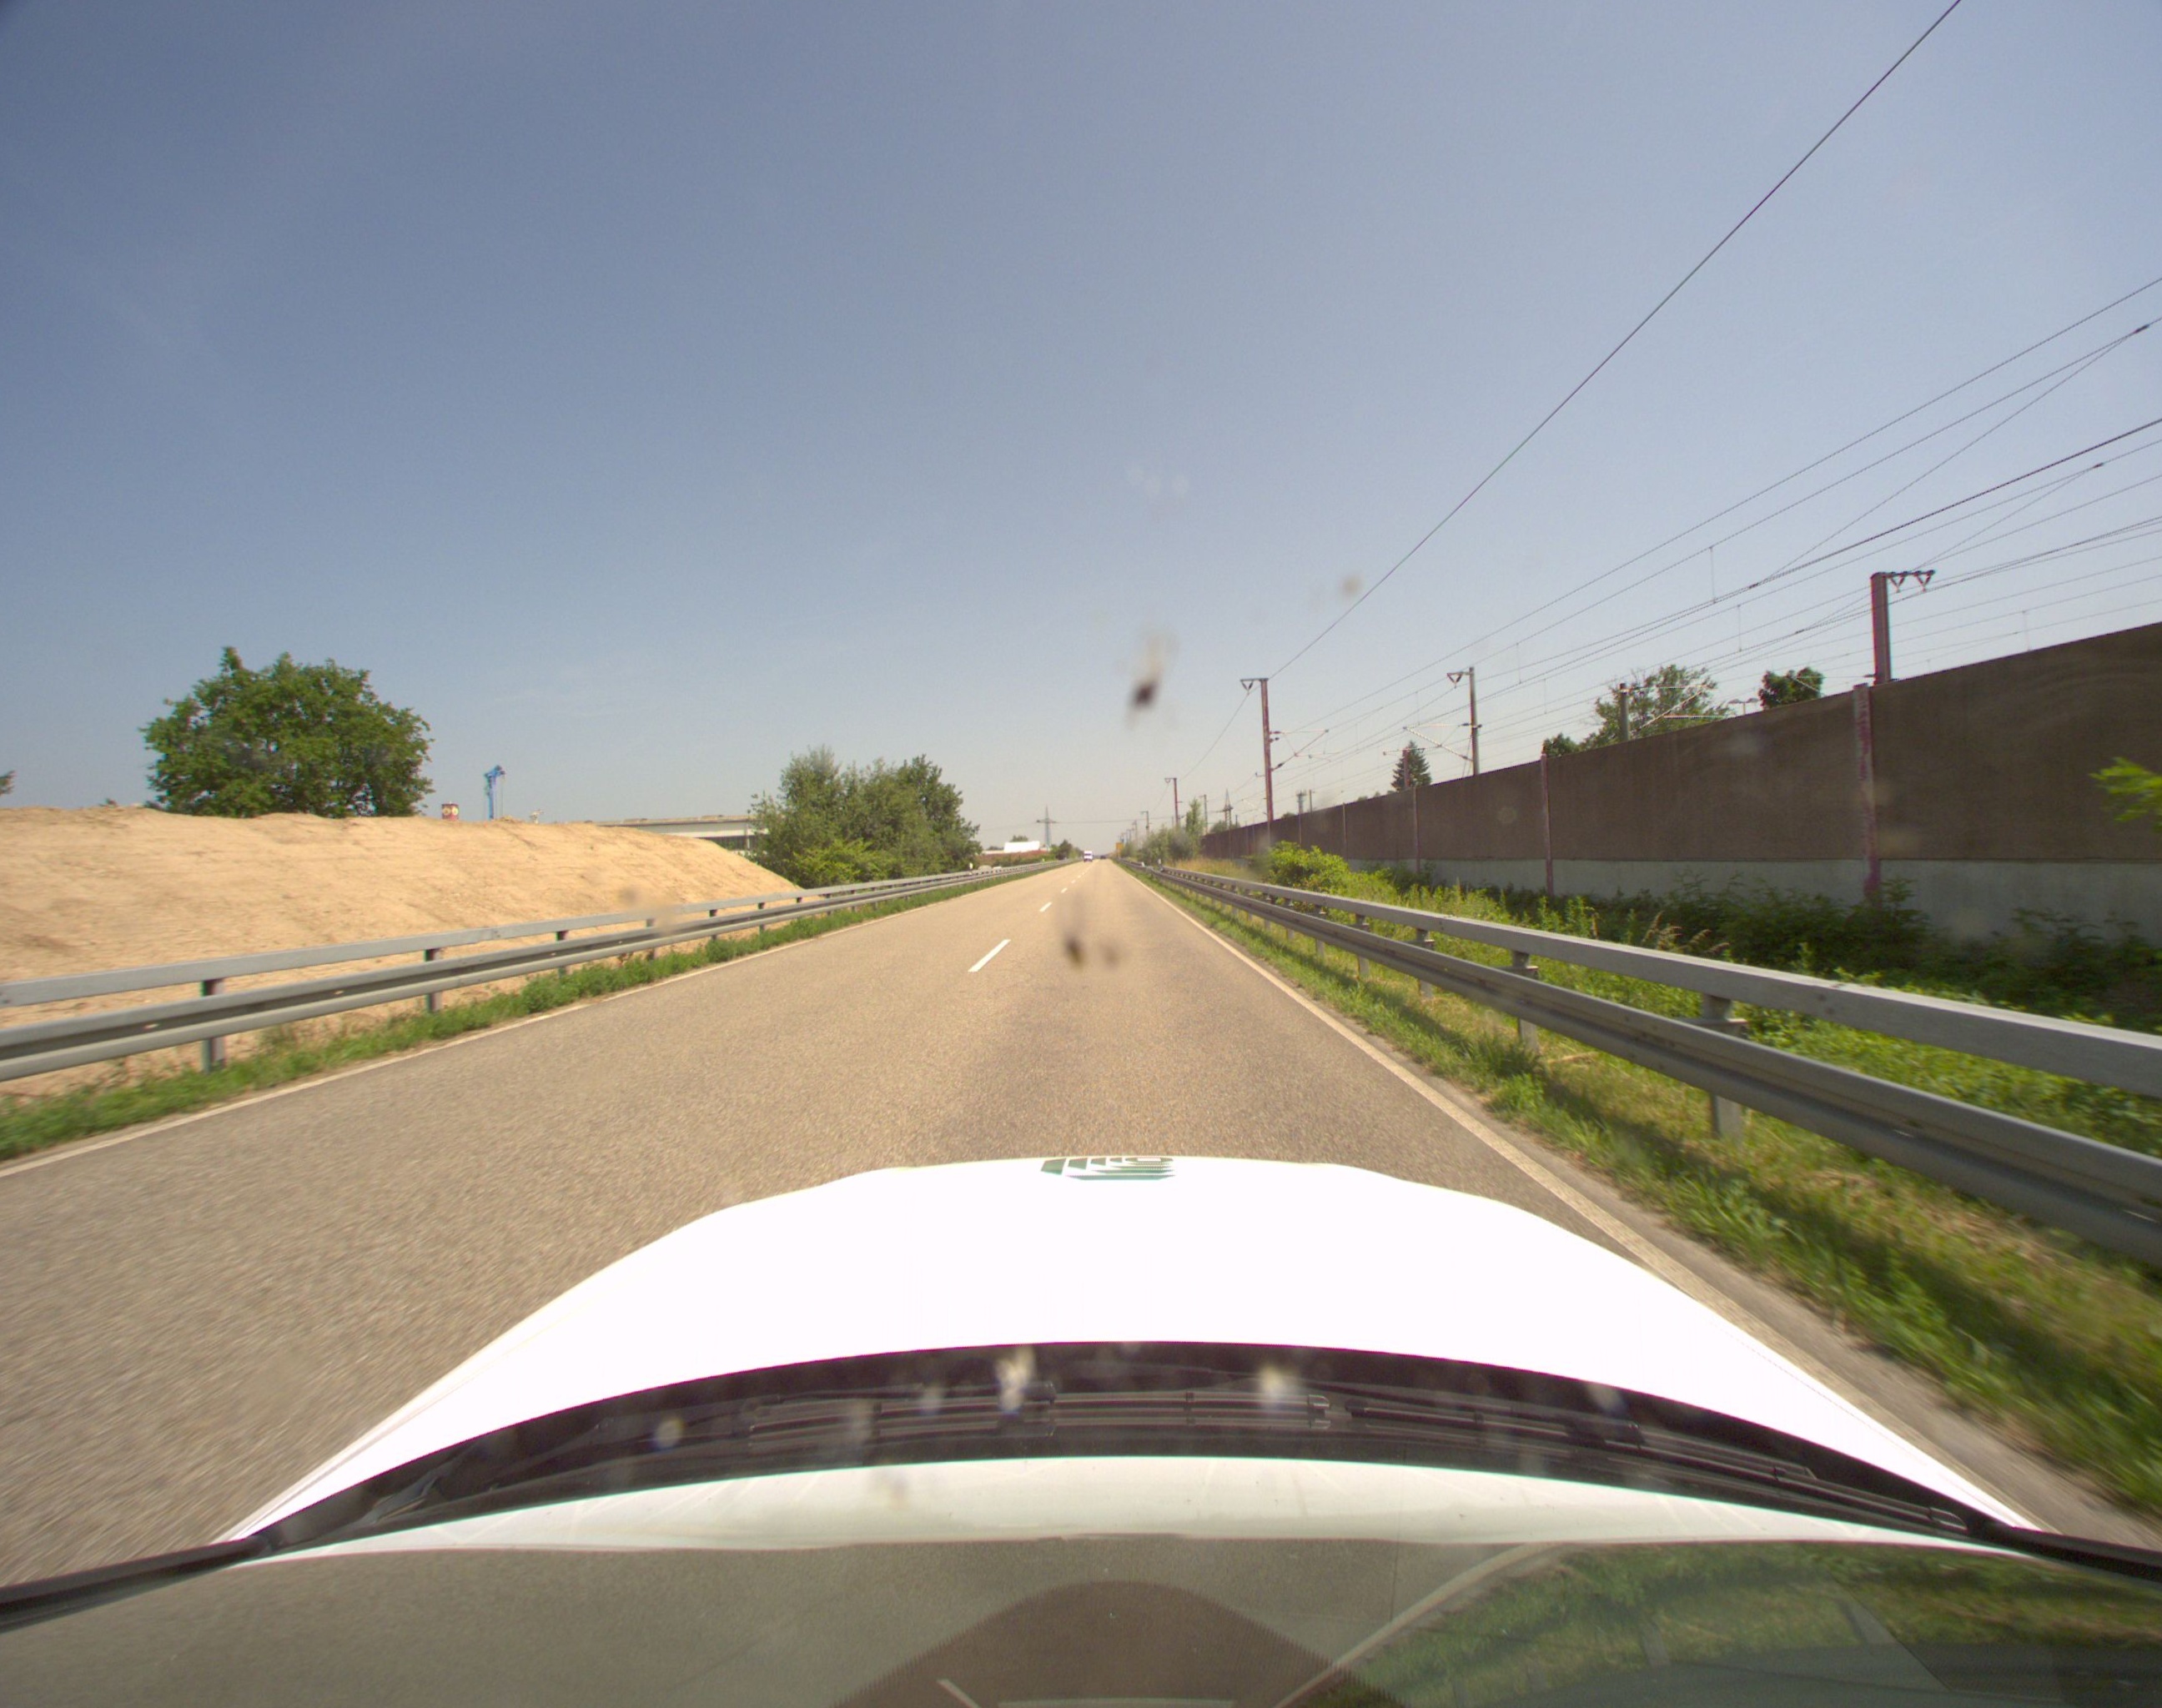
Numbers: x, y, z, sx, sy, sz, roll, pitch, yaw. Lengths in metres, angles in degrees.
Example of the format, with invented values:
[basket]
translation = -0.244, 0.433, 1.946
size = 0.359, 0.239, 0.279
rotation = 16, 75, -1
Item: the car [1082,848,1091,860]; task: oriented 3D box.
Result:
[car]
translation = 1.330, -0.003, 194.581
size = 2.072, 2.962, 6.731
rotation = -1, 0, 1
